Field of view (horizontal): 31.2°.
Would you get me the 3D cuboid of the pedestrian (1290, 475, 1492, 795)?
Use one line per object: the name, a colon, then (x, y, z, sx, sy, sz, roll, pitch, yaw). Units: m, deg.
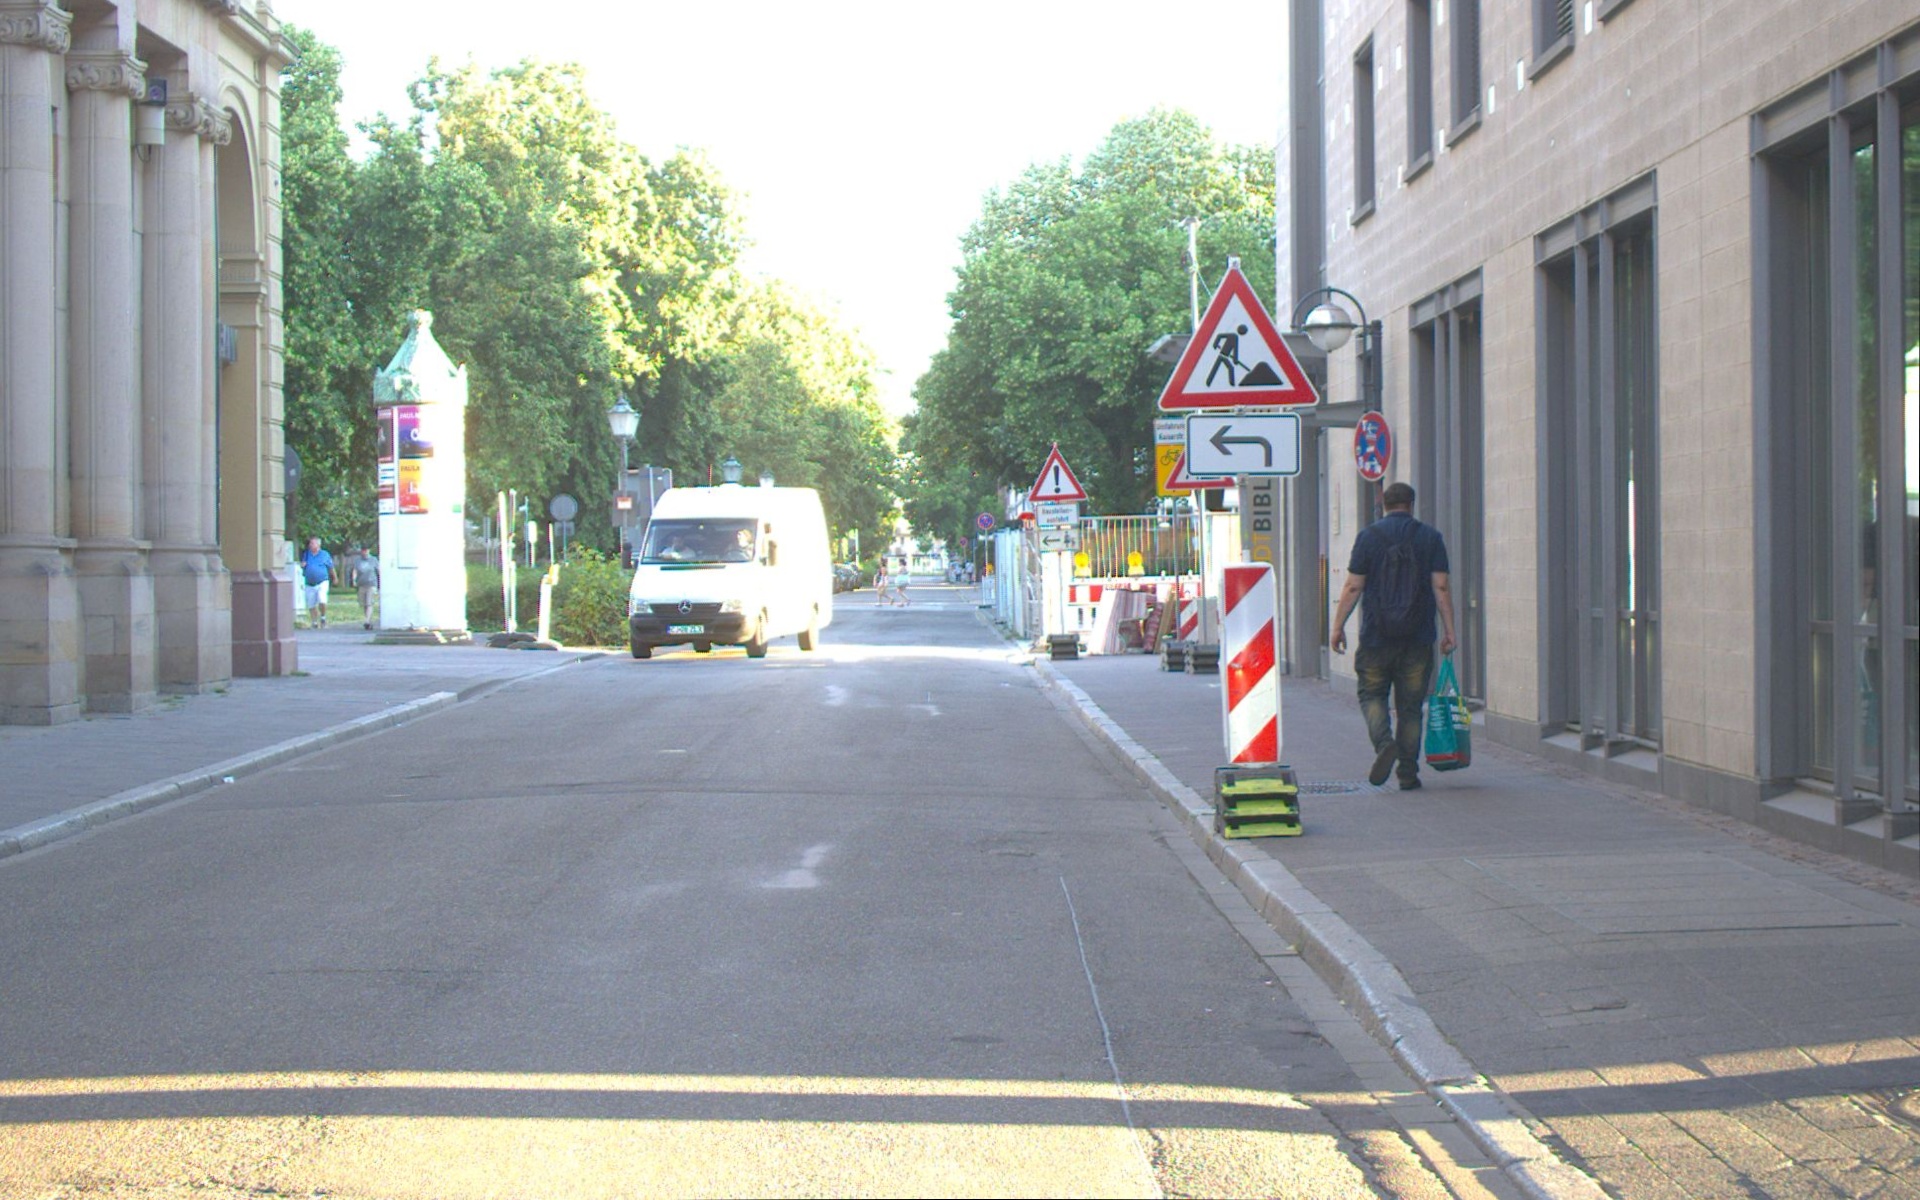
pedestrian: (2.504, 0.199, 20.074, 1.000, 1.797, 0.882, -2, 0, -1)

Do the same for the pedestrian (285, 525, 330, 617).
pedestrian: (-12.890, -0.577, 67.919, 0.849, 1.801, 0.664, 0, 1, -13)

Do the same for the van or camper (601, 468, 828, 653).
van or camper: (-3.546, -0.605, 51.042, 2.219, 2.576, 6.370, 0, 1, 6)

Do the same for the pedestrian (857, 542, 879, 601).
pedestrian: (-3.135, -0.971, 116.990, 0.609, 2.007, 0.905, 0, 1, -9)

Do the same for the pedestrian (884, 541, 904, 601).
pedestrian: (-2.235, -0.982, 116.257, 0.581, 2.007, 0.682, 0, 1, -9)

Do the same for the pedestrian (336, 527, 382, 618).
pedestrian: (-11.921, -0.545, 68.189, 0.849, 1.801, 0.664, 0, 1, -13)
